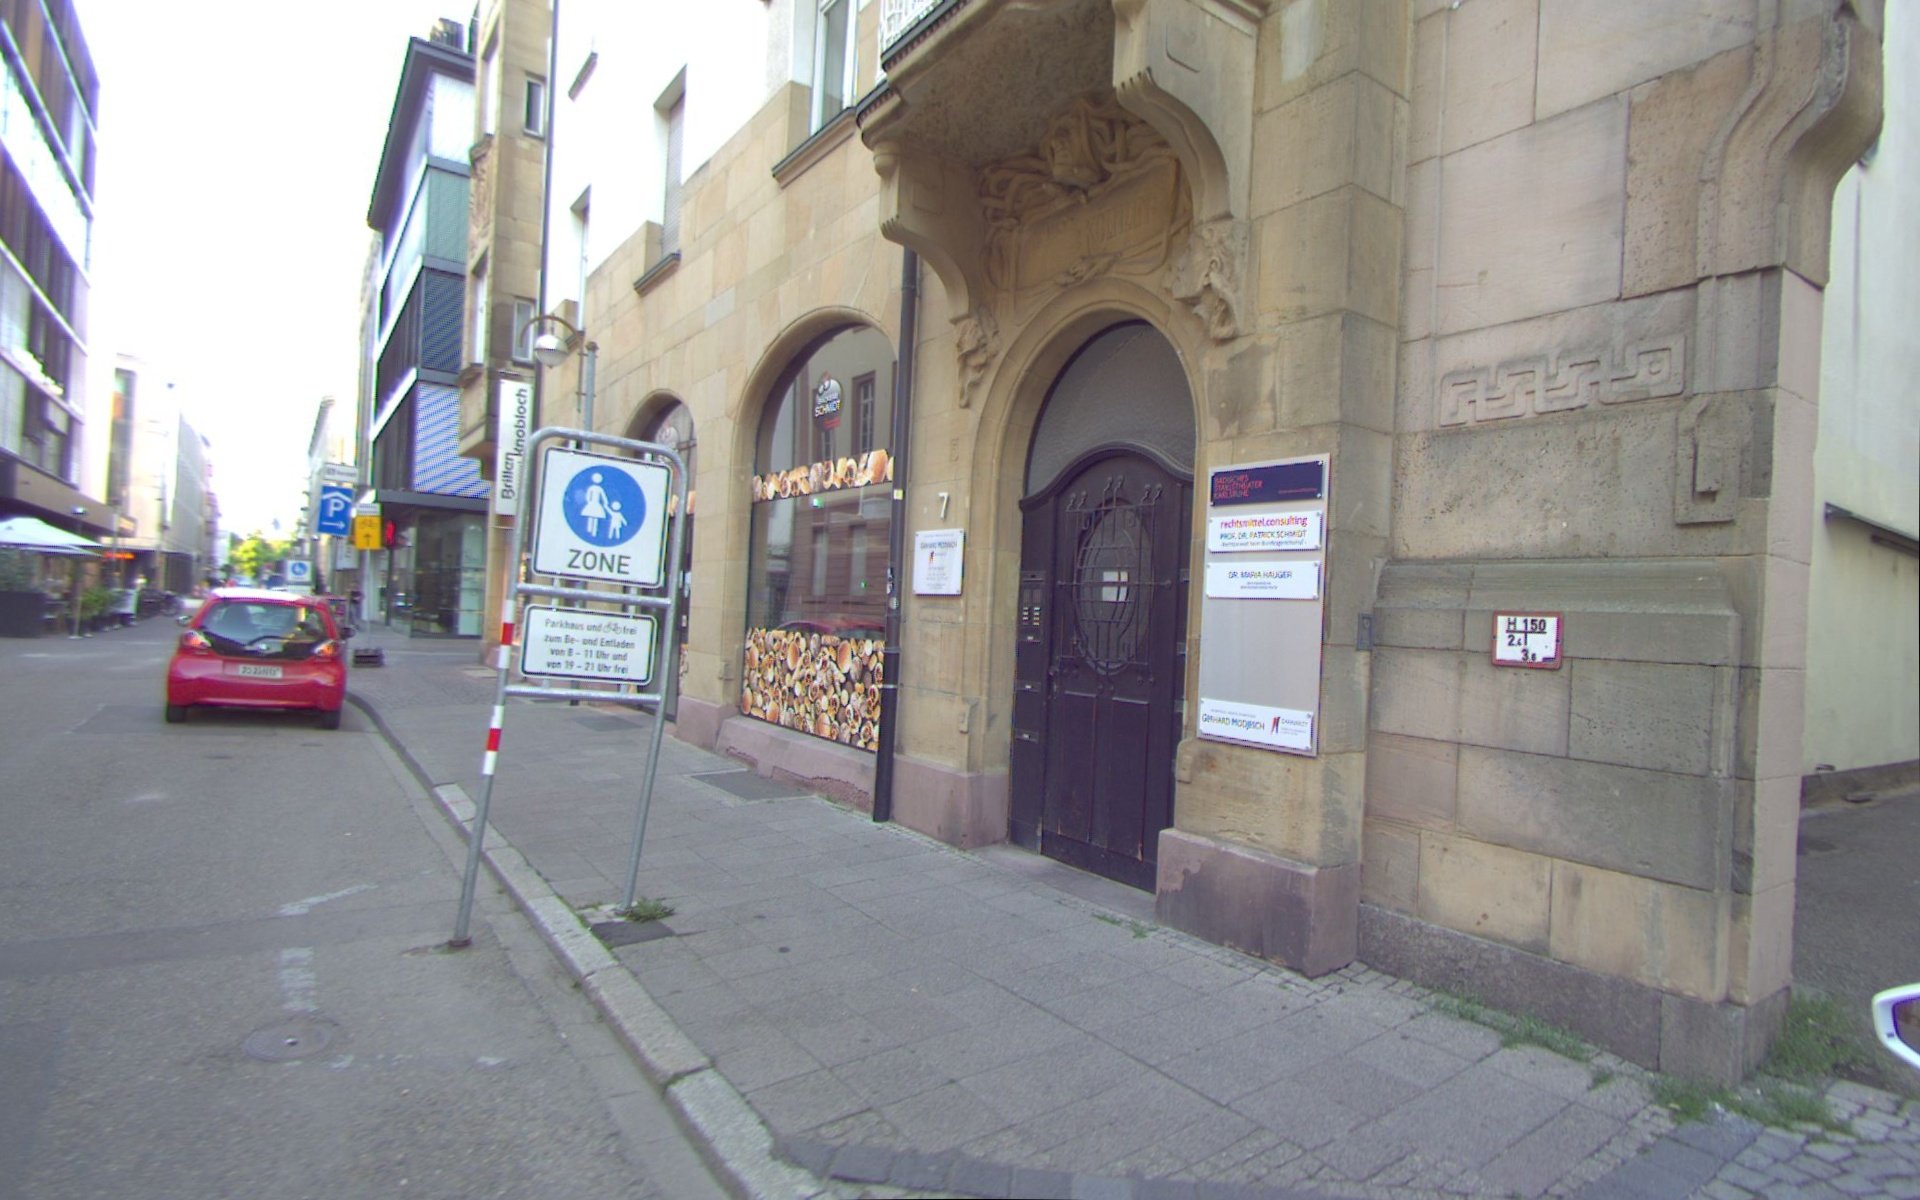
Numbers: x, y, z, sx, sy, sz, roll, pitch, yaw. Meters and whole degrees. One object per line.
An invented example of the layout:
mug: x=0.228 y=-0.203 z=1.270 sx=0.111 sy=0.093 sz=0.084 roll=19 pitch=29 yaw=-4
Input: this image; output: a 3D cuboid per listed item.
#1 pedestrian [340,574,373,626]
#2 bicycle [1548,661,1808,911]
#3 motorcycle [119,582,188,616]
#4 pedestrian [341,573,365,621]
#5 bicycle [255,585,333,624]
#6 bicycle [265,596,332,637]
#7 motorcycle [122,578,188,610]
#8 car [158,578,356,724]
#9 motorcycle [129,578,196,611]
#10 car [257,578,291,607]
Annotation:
pedestrian: x=-20.033 y=0.002 z=33.348 sx=0.804 sy=1.693 sz=0.921 roll=2 pitch=0 yaw=-36
bicycle: x=3.901 y=0.909 z=5.409 sx=1.739 sy=1.094 sz=0.591 roll=2 pitch=1 yaw=-36
motorcycle: x=-34.003 y=-0.033 z=42.399 sx=2.171 sy=1.299 sz=0.645 roll=3 pitch=0 yaw=-33
pedestrian: x=-21.696 y=-0.099 z=35.876 sx=0.664 sy=1.693 sz=0.757 roll=2 pitch=0 yaw=-33
bicycle: x=-20.015 y=0.147 z=30.228 sx=1.934 sy=1.145 sz=0.614 roll=1 pitch=1 yaw=-34
bicycle: x=-19.131 y=0.471 z=29.083 sx=1.591 sy=1.134 sz=0.614 roll=0 pitch=1 yaw=-34
motorcycle: x=-35.630 y=-0.263 z=44.492 sx=2.171 sy=1.299 sz=0.645 roll=3 pitch=0 yaw=-33
car: x=-8.259 y=0.549 z=11.932 sx=1.622 sy=1.460 sz=3.127 roll=5 pitch=-2 yaw=-34
motorcycle: x=-34.352 y=-0.231 z=43.305 sx=2.171 sy=1.299 sz=0.645 roll=3 pitch=0 yaw=-33
car: x=-35.471 y=-0.393 z=51.944 sx=1.413 sy=1.436 sz=3.857 roll=0 pitch=1 yaw=-35
